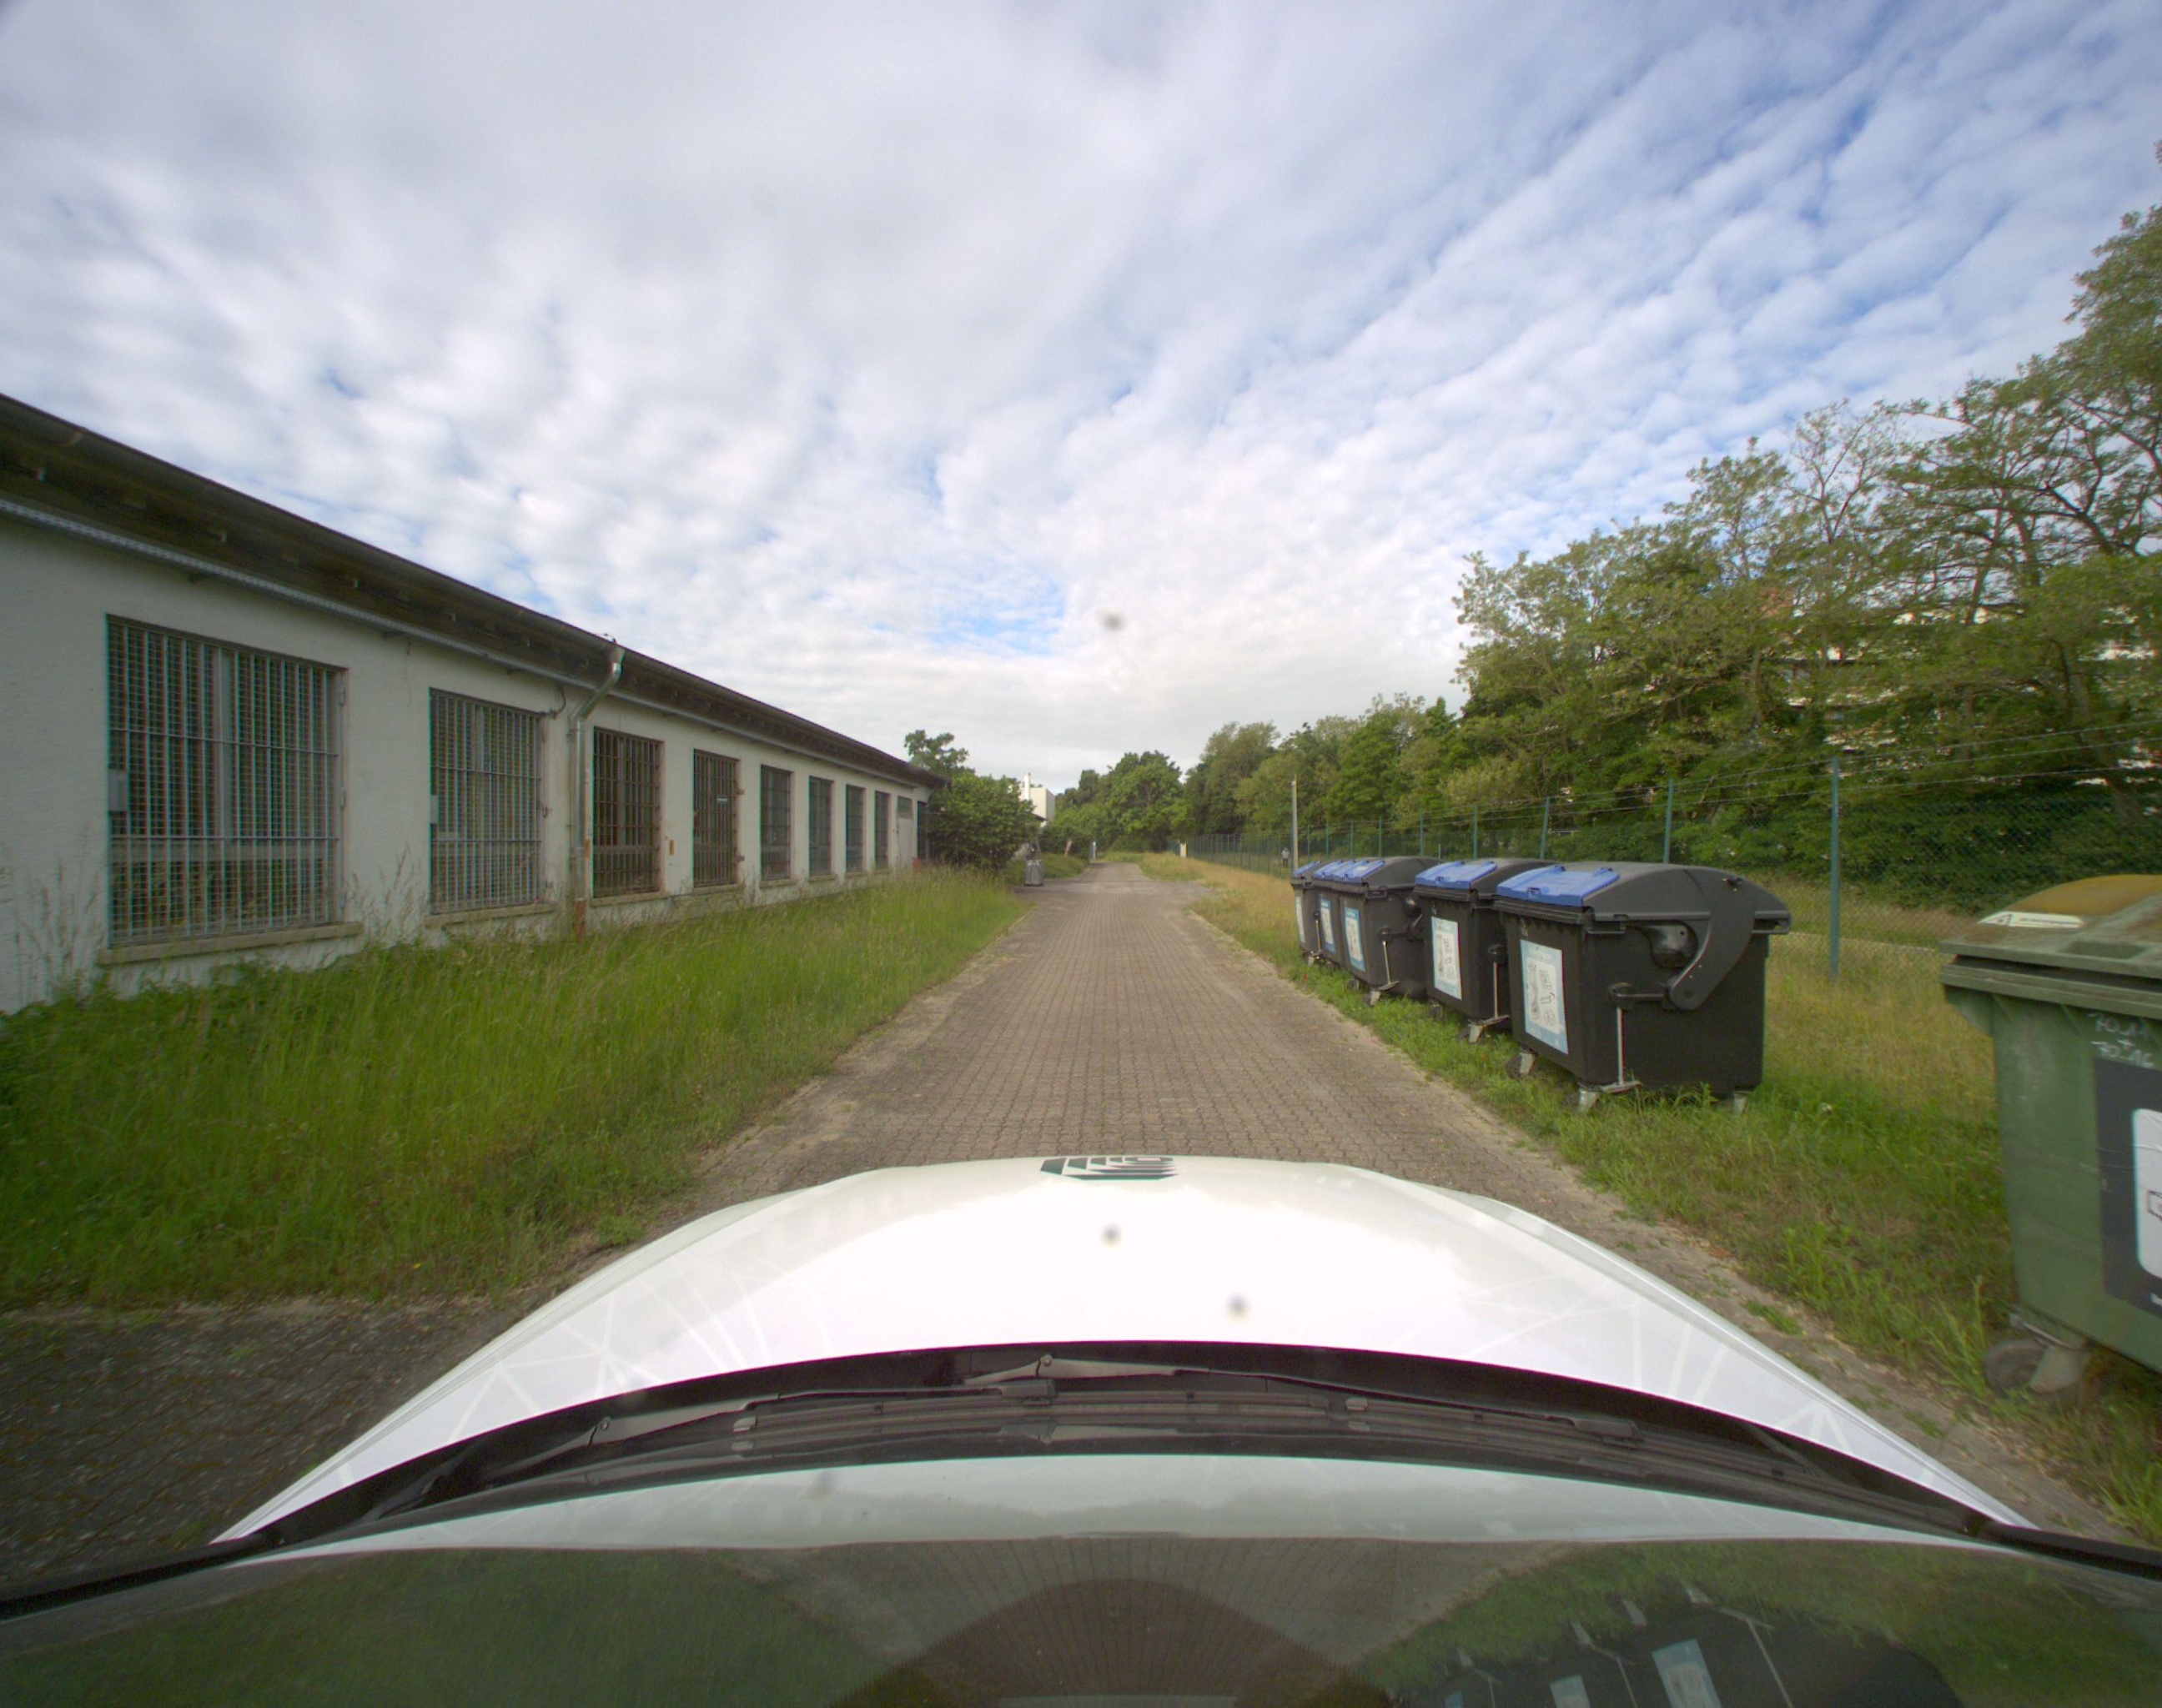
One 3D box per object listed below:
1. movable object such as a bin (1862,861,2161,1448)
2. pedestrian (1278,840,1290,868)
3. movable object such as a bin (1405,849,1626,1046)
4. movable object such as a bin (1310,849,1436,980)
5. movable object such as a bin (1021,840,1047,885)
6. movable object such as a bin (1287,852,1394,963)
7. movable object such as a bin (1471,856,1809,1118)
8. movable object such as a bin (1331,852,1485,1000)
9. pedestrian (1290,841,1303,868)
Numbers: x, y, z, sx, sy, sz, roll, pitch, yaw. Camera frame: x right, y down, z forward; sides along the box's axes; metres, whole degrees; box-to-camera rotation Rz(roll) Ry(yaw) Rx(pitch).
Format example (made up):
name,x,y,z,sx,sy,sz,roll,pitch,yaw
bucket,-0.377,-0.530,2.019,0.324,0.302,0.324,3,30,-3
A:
name,x,y,z,sx,sy,sz,roll,pitch,yaw
movable object such as a bin,2.955,0.670,1.821,1.119,1.296,1.380,0,0,1
pedestrian,15.157,-0.001,60.742,0.757,2.013,0.664,-1,0,1
movable object such as a bin,3.370,0.660,6.522,1.116,1.374,1.497,0,0,8
movable object such as a bin,3.293,0.639,9.333,1.116,1.379,1.328,0,0,8
movable object such as a bin,-2.075,0.380,36.101,0.929,1.982,0.856,-1,0,10
movable object such as a bin,3.361,0.652,10.709,1.116,1.350,1.429,0,0,8
movable object such as a bin,3.226,0.677,4.943,1.148,1.325,1.497,0,0,8
movable object such as a bin,3.159,0.653,8.034,1.116,1.321,1.328,-1,0,8
pedestrian,15.936,0.022,60.220,0.757,2.013,0.664,-1,0,1
